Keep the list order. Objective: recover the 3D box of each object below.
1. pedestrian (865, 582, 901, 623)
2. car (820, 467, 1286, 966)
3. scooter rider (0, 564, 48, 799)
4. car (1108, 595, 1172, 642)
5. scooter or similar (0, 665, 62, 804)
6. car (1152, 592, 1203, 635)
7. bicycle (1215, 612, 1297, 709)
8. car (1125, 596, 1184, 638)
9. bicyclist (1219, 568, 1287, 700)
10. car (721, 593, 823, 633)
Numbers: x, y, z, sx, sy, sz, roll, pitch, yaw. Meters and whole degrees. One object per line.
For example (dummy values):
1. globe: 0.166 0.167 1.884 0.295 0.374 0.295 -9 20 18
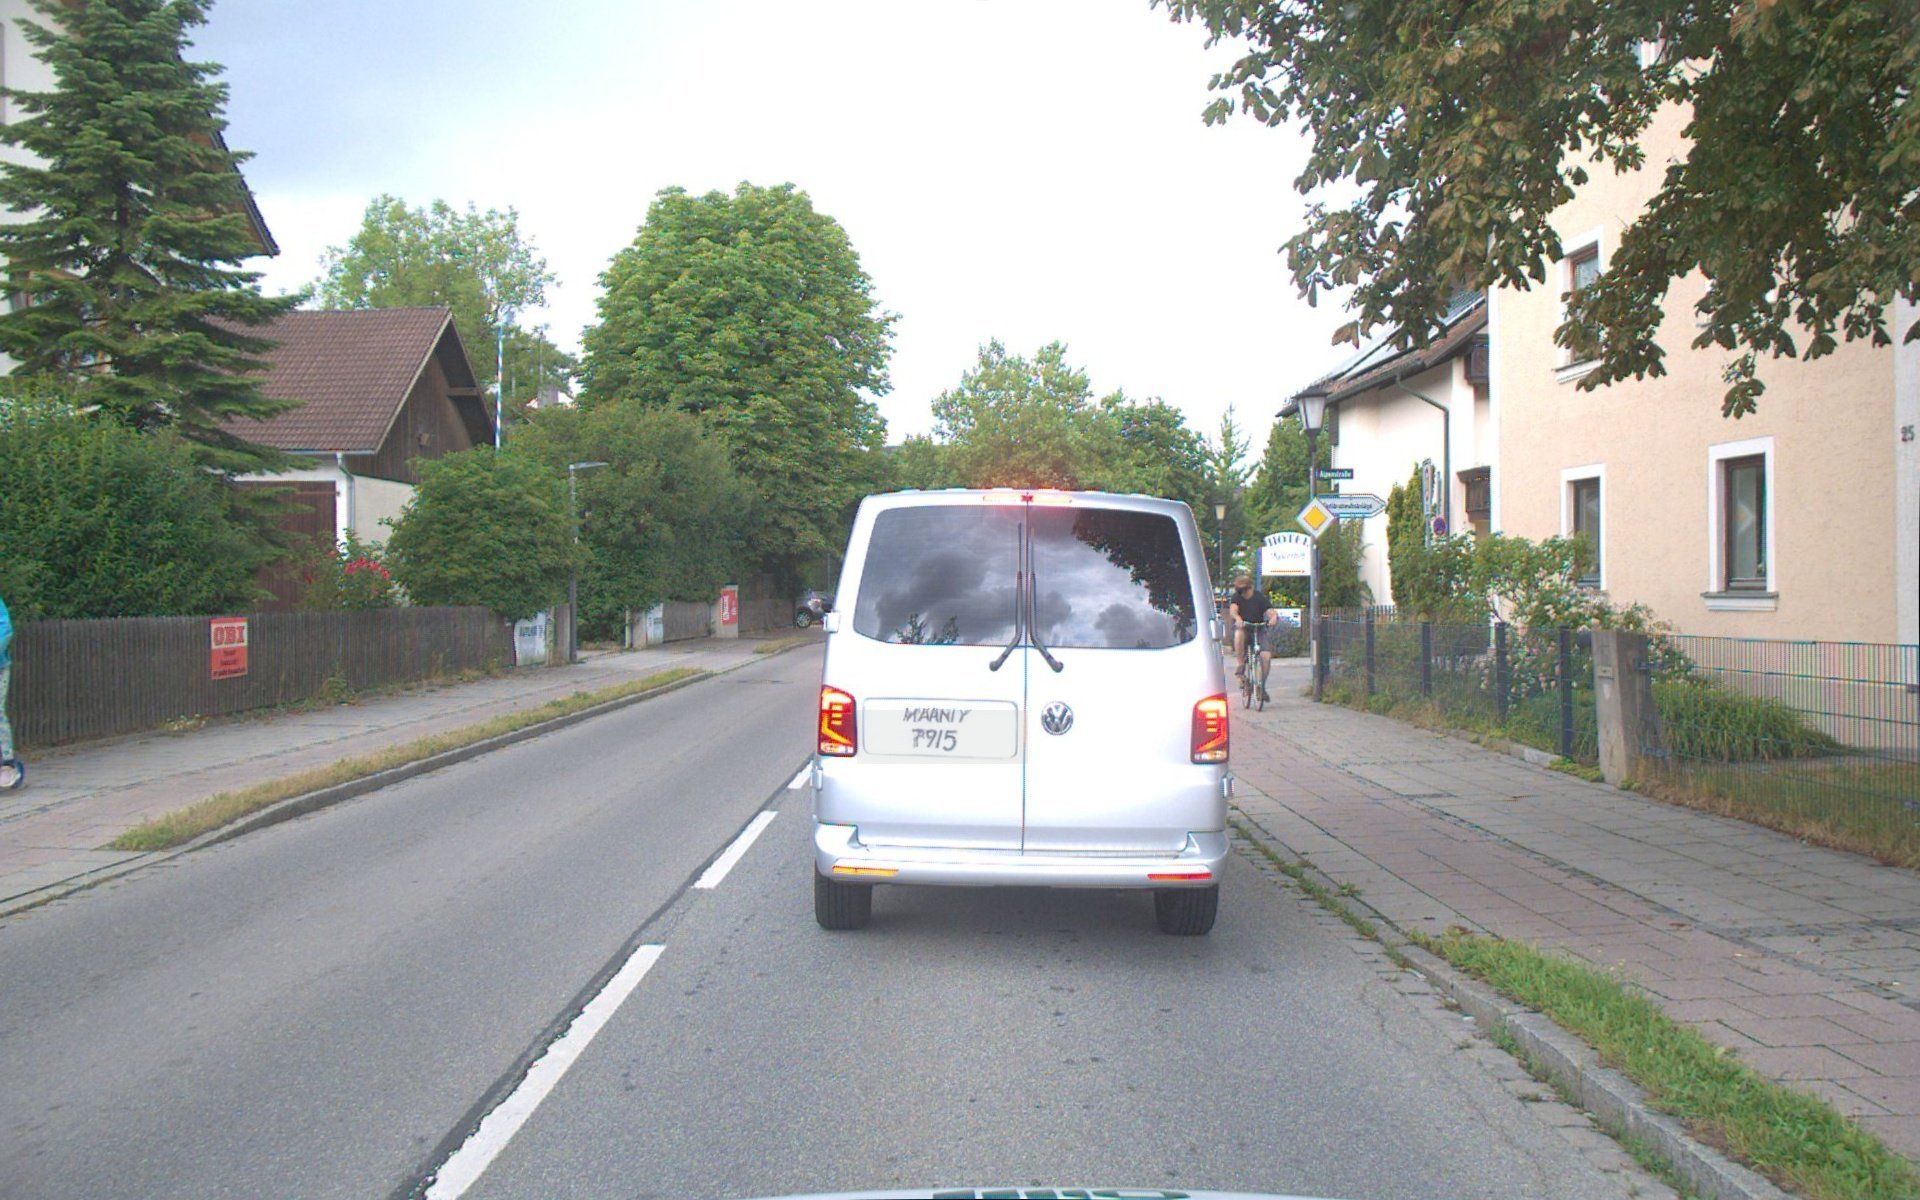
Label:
1. pedestrian: -3.556 0.110 76.088 1.311 1.834 1.053 0 0 -41
2. car: 0.379 0.455 8.519 1.842 1.974 3.920 0 0 0
3. scooter rider: -6.440 0.524 10.866 0.492 1.515 0.716 0 0 0
4. car: 6.249 0.601 57.207 1.841 1.562 3.924 0 0 11
5. scooter or similar: -6.453 0.884 10.869 0.511 0.865 1.061 0 0 0
6. car: 9.260 0.561 70.133 1.841 1.779 4.084 0 0 12
7. bicycle: 3.796 0.754 21.326 0.749 1.163 1.845 0 0 1
8. car: 7.464 0.616 63.202 1.841 1.562 3.924 0 0 13
9. bicyclist: 3.769 0.430 21.349 0.721 1.661 0.890 0 0 1
10. car: -7.382 0.511 64.820 3.913 1.512 1.996 0 0 -9
